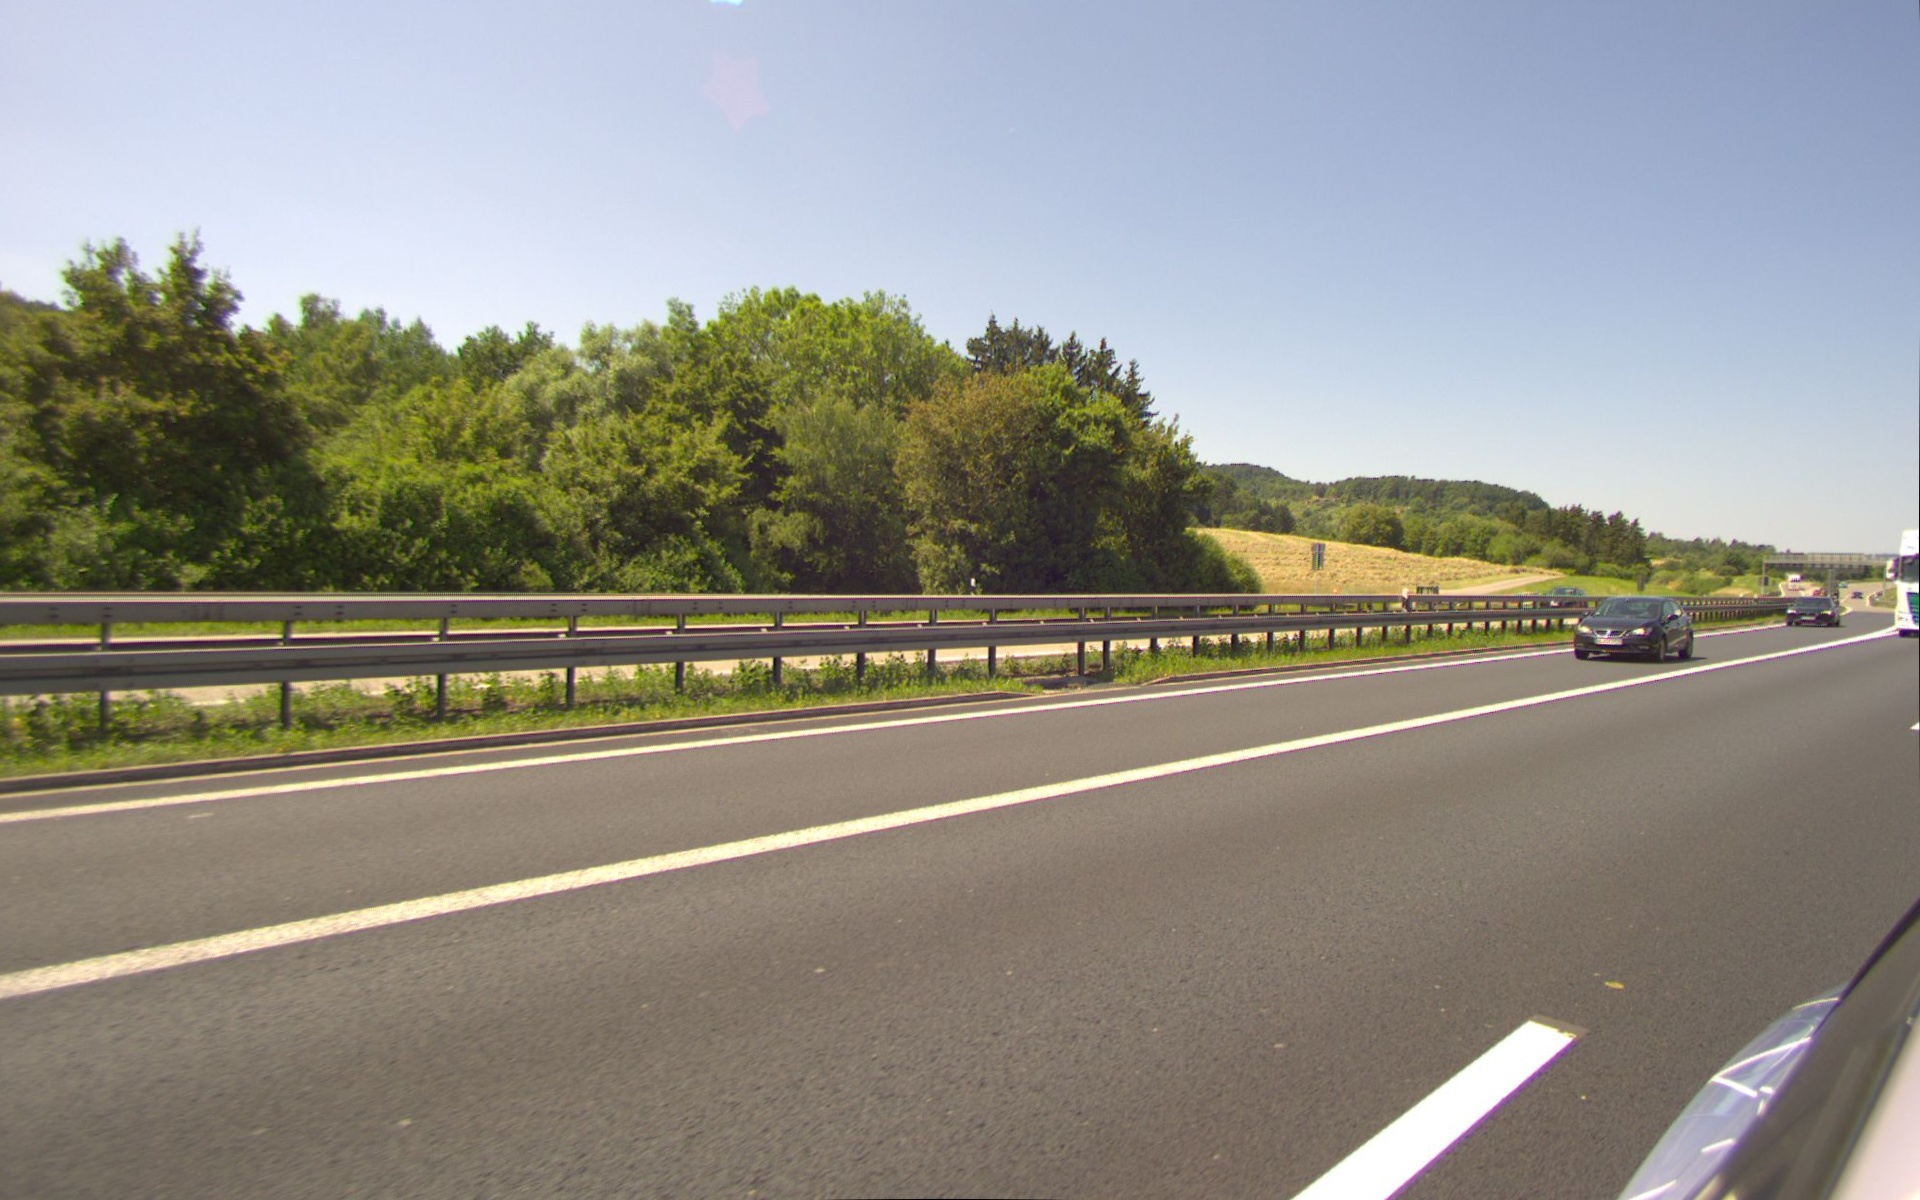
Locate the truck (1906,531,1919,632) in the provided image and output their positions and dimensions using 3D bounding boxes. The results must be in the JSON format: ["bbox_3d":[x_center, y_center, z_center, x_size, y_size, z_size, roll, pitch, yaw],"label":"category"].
[{"bbox_3d":[36.772,-0.681,37.152,4.329,3.638,2.646,0,1,-42],"label":"truck"}]

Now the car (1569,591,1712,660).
[{"bbox_3d":[15.473,0.509,22.946,3.695,1.417,1.780,-1,1,-41],"label":"car"}]

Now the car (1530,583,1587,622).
[{"bbox_3d":[32.529,0.114,54.950,1.992,2.039,3.941,1,1,41],"label":"car"}]

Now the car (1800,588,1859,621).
[{"bbox_3d":[41.729,0.193,48.540,1.887,1.491,3.805,1,1,44],"label":"car"}]
